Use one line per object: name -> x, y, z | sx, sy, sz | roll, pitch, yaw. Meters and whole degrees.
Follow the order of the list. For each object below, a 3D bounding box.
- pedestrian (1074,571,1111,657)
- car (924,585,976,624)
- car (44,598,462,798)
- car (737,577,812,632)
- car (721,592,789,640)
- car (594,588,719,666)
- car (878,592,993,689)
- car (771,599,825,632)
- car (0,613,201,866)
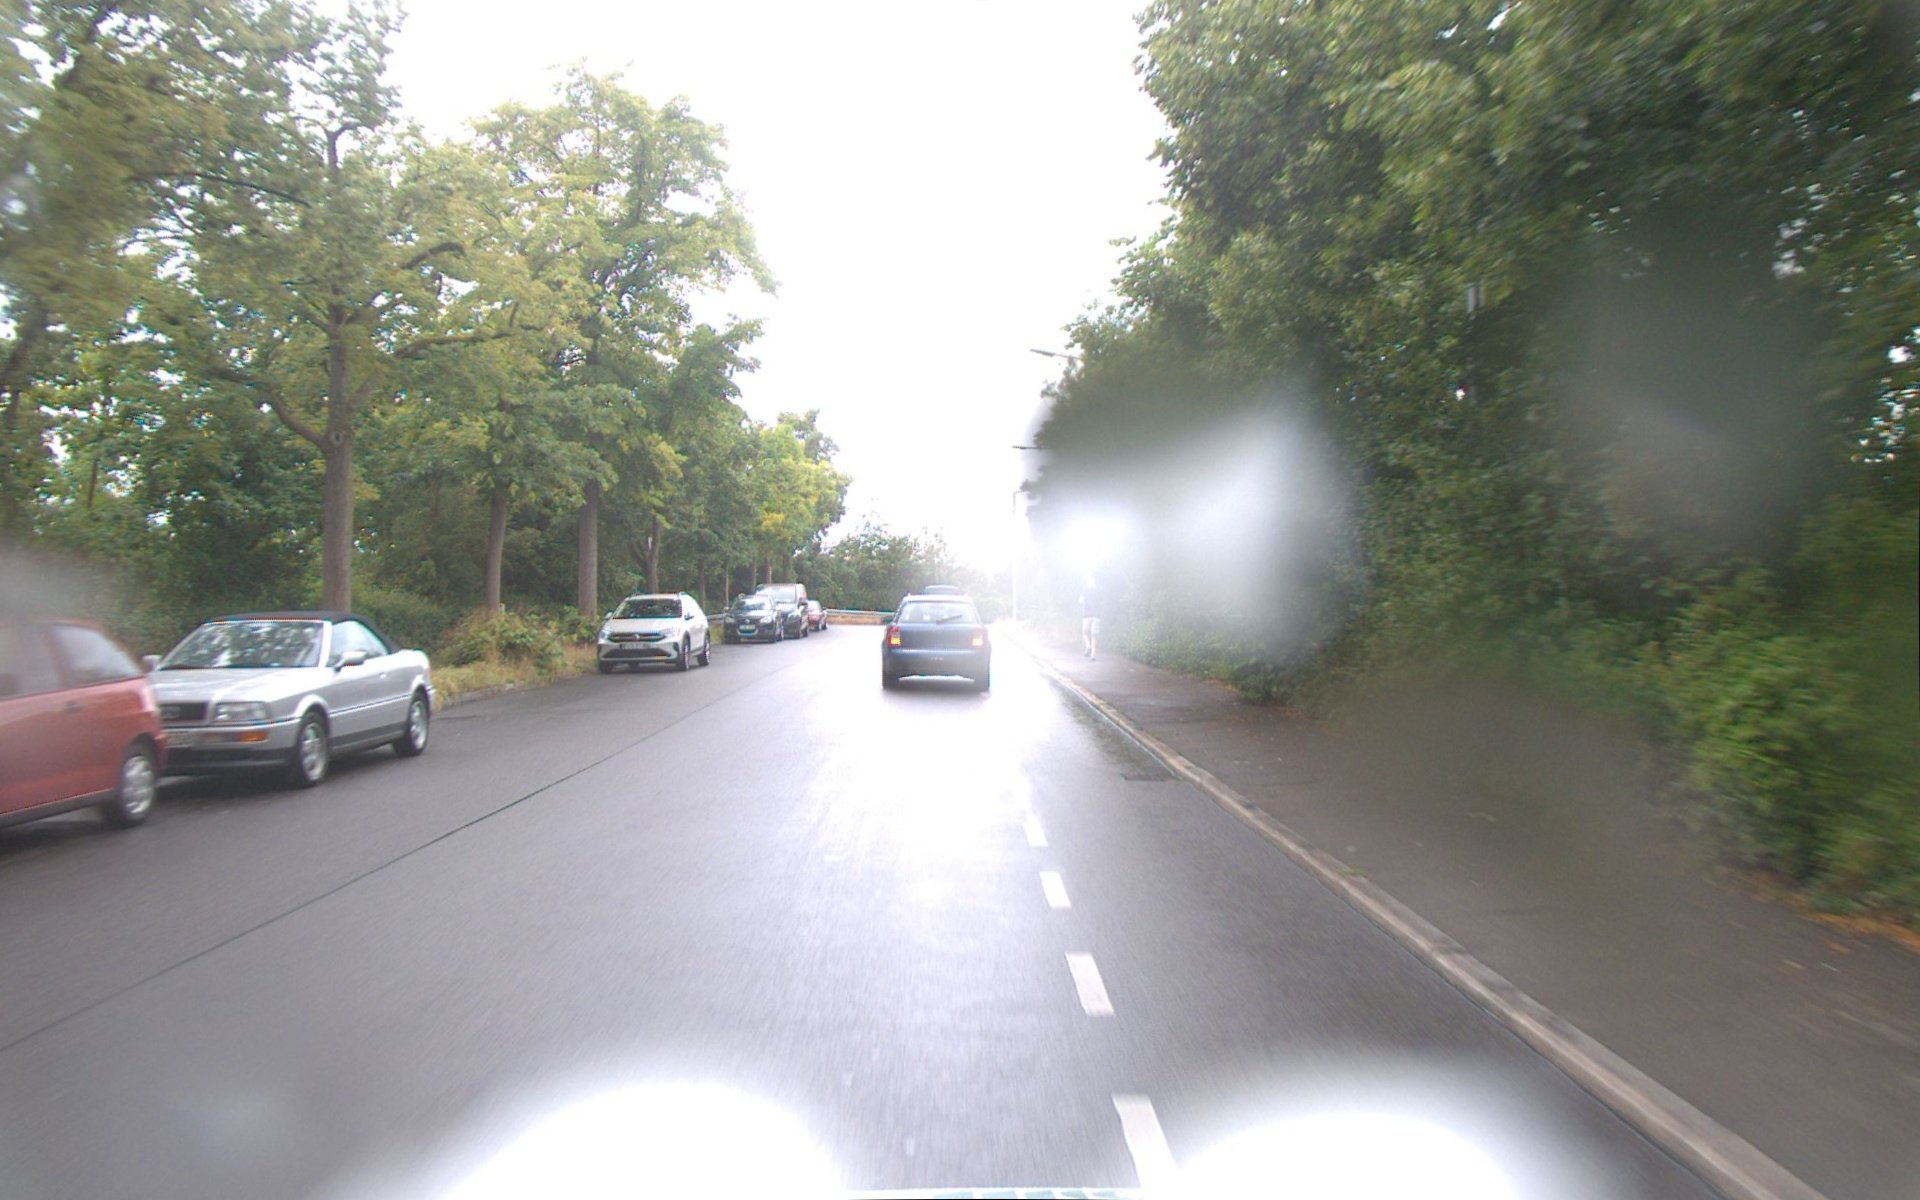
pedestrian -> 2.968, 0.309, 37.154 | 0.702, 1.867, 1.021 | -2, 0, 1
car -> -0.338, 0.181, 62.099 | 1.852, 1.413, 4.000 | 0, 0, 1
car -> -5.802, 0.718, 14.227 | 1.719, 1.427, 4.418 | -1, 0, -1
car -> -6.611, 0.174, 59.476 | 2.041, 1.851, 5.380 | -1, 0, 0
car -> -6.572, 0.491, 53.414 | 1.761, 1.462, 4.254 | -1, 0, -2
car -> -6.090, 0.530, 33.640 | 1.654, 1.462, 4.257 | -1, 0, 1
car -> -0.464, 0.608, 26.887 | 1.712, 1.432, 3.998 | -1, 0, -3
car -> -6.852, 0.640, 70.427 | 1.752, 1.320, 4.326 | -1, 0, 2
car -> -6.116, 0.785, 9.789 | 1.563, 1.386, 3.999 | -1, 0, -3
